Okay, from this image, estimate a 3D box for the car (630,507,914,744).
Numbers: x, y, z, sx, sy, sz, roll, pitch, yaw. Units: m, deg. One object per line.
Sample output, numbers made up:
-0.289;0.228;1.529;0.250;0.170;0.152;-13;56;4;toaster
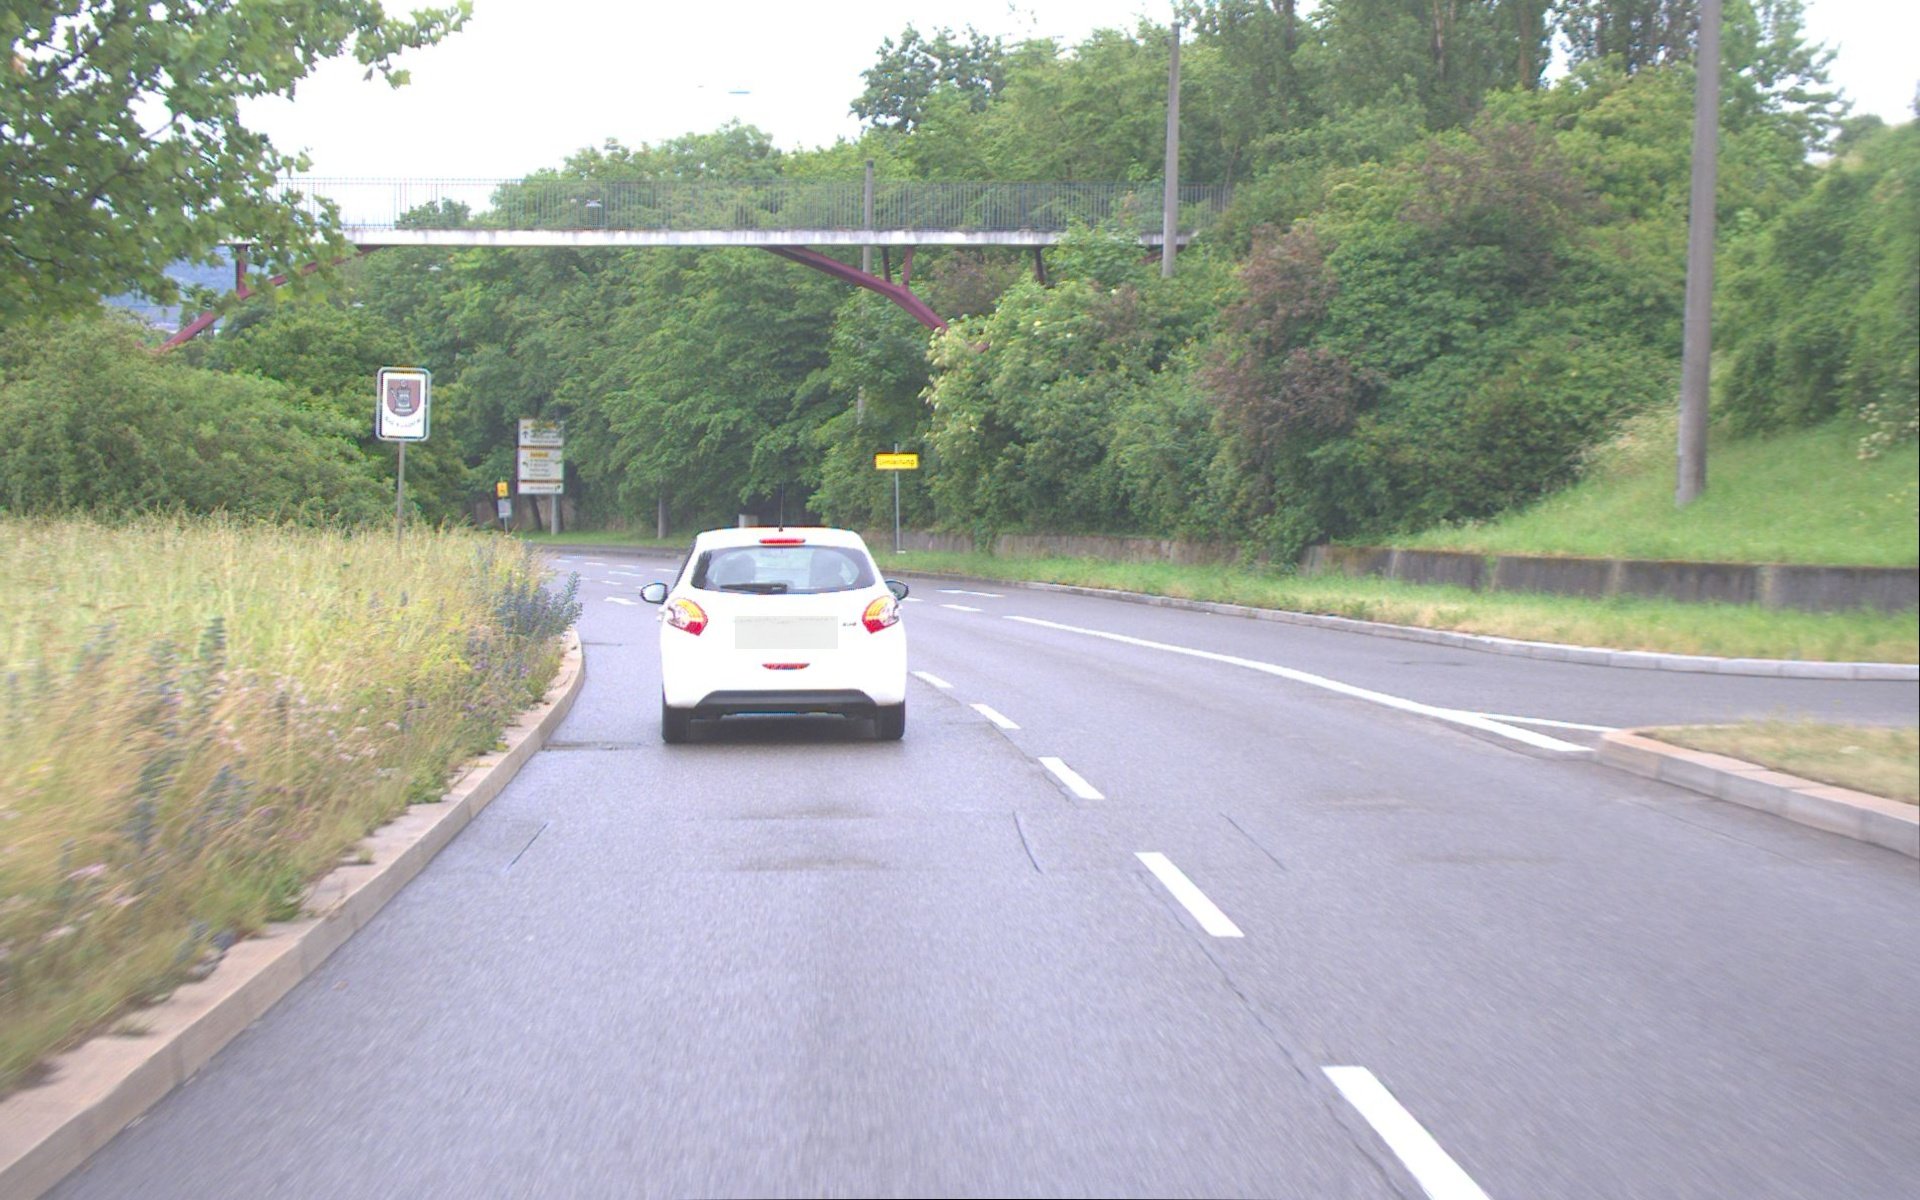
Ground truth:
-1.338;0.119;24.789;1.868;1.505;3.900;1;2;-3;car
